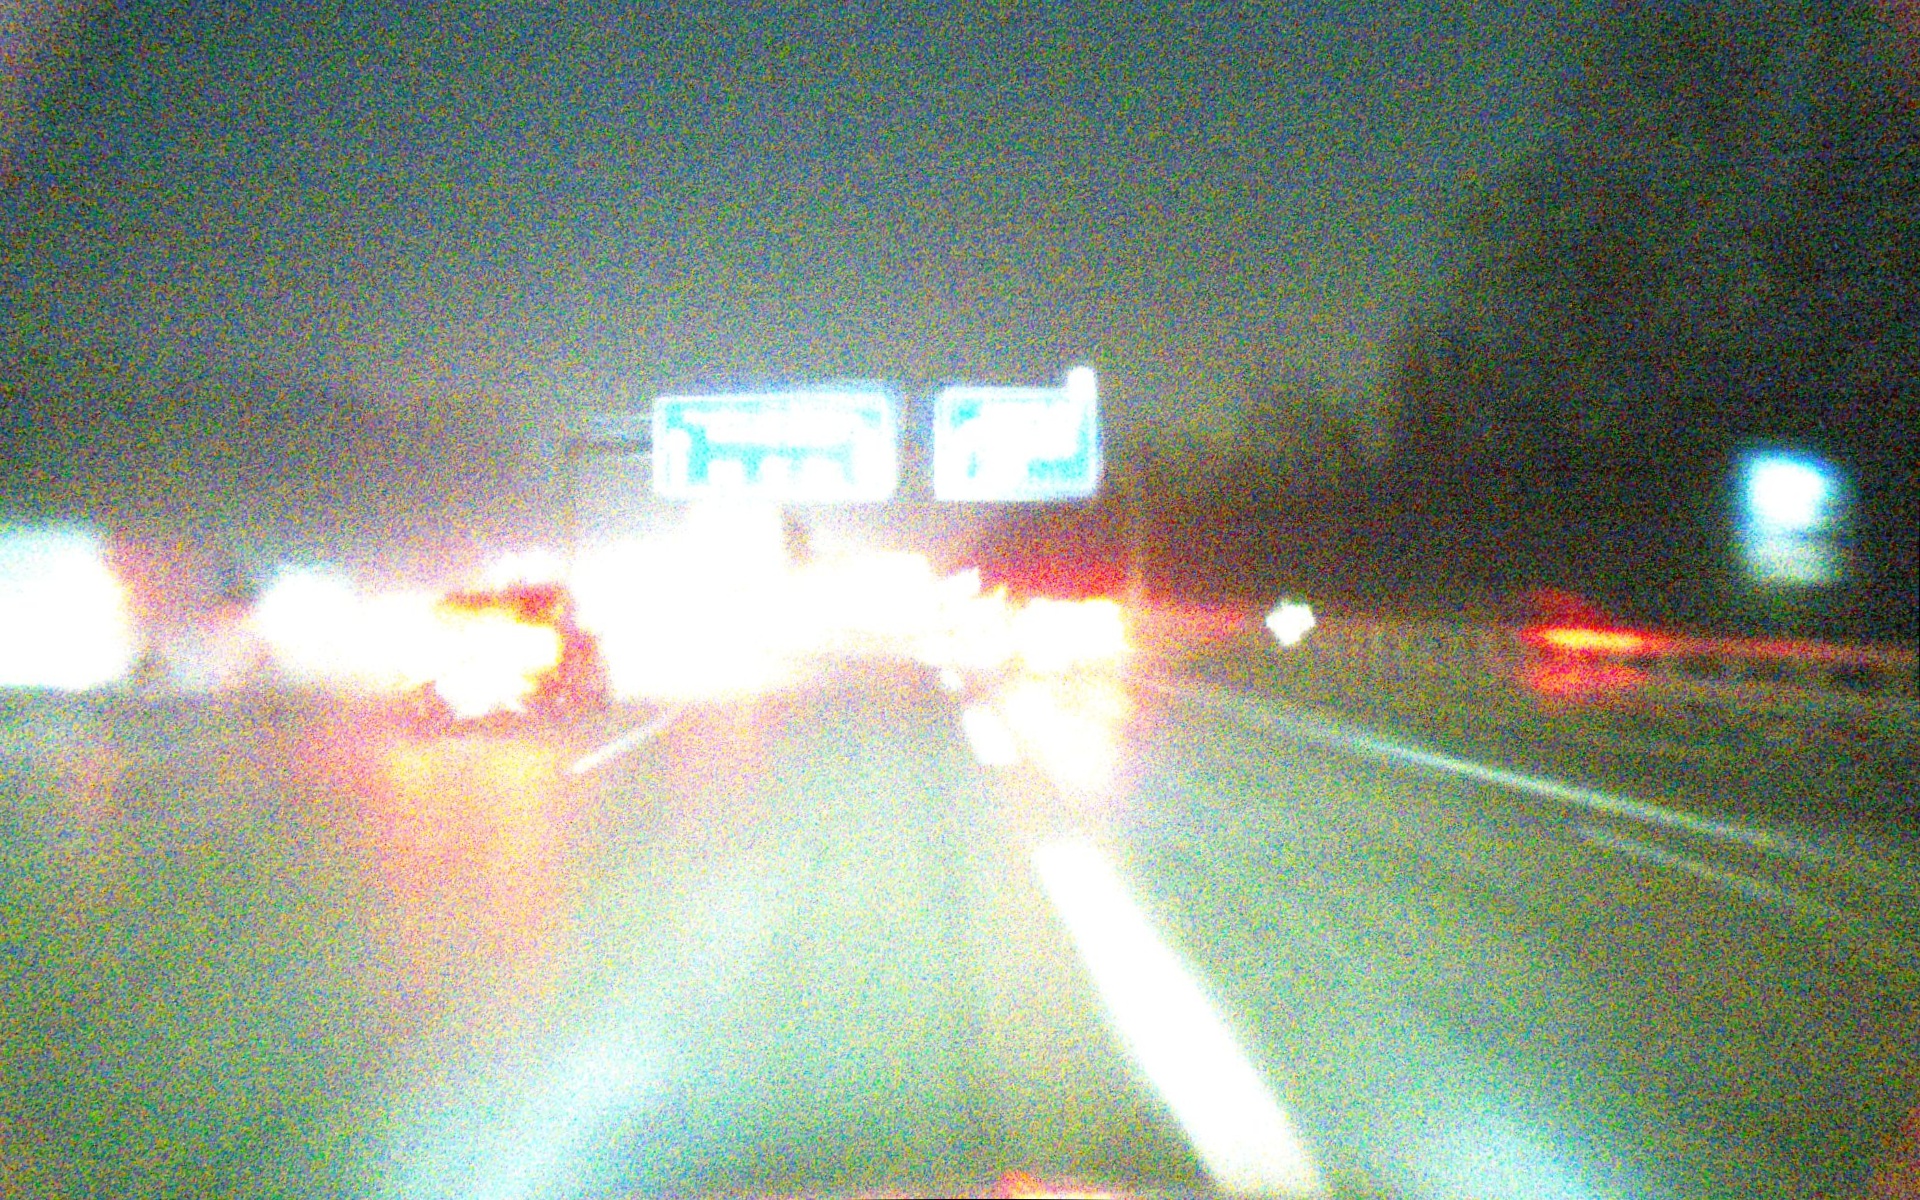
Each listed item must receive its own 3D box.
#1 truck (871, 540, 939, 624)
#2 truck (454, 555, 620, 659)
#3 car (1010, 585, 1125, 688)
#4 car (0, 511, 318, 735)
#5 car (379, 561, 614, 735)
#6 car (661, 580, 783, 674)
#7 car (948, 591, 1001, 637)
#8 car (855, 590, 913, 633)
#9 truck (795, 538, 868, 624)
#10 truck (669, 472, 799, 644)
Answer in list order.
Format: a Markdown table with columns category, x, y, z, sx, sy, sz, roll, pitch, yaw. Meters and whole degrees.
| category | x | y | z | sx | sy | sz | roll | pitch | yaw |
| --- | --- | --- | --- | --- | --- | --- | --- | --- | --- |
| truck | -3.800 | -1.151 | 111.944 | 4.080 | 5.306 | 9.945 | 1 | 0 | -4 |
| truck | -9.945 | 0.159 | 39.443 | 2.801 | 2.239 | 5.853 | 1 | 0 | -4 |
| car | 1.990 | 0.659 | 31.709 | 1.840 | 1.793 | 3.999 | 1 | 0 | -1 |
| car | -9.364 | 0.205 | 18.699 | 2.080 | 2.141 | 5.628 | 1 | 0 | -1 |
| car | -5.064 | 0.457 | 18.593 | 1.731 | 1.718 | 3.997 | 1 | 1 | -4 |
| car | -4.866 | 0.523 | 34.423 | 1.998 | 1.792 | 4.514 | 1 | 0 | -2 |
| car | 0.548 | 0.526 | 66.095 | 1.953 | 1.733 | 4.457 | 1 | 0 | -2 |
| car | -3.799 | 0.576 | 83.823 | 2.775 | 2.049 | 5.509 | 1 | 0 | -1 |
| truck | -8.783 | -1.247 | 114.658 | 4.167 | 5.539 | 10.883 | 1 | 0 | 0 |
| truck | -6.937 | -1.181 | 52.130 | 3.585 | 4.820 | 9.840 | 1 | 0 | -6 |
